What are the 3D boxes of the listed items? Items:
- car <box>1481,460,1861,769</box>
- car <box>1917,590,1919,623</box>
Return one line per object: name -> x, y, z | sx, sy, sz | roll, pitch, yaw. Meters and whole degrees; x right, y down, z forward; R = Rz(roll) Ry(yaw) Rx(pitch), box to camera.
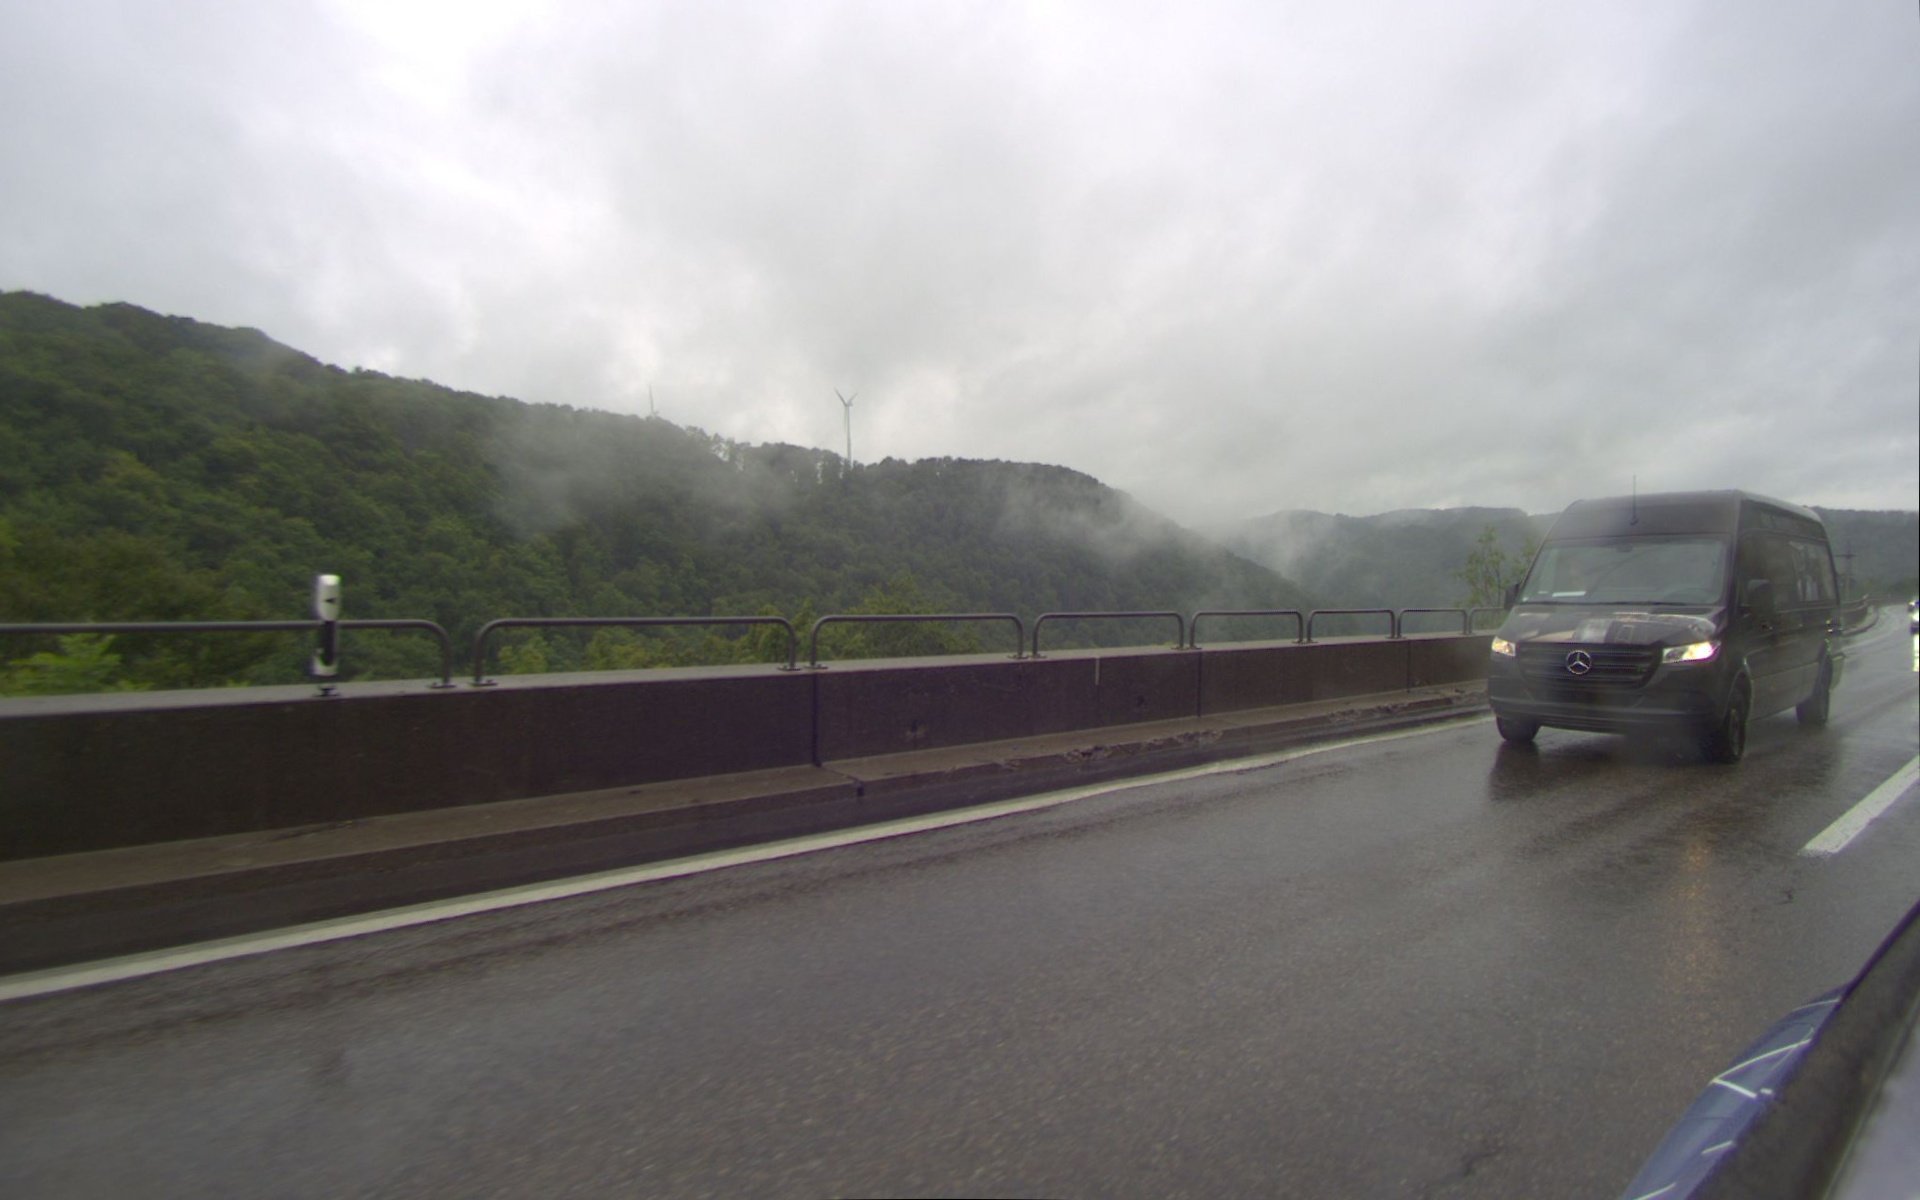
car -> 8.151, 0.080, 11.221 | 6.589, 2.525, 1.996 | -1, 0, -42
car -> 43.927, 0.280, 44.860 | 4.489, 1.433, 1.987 | 0, 1, -44
